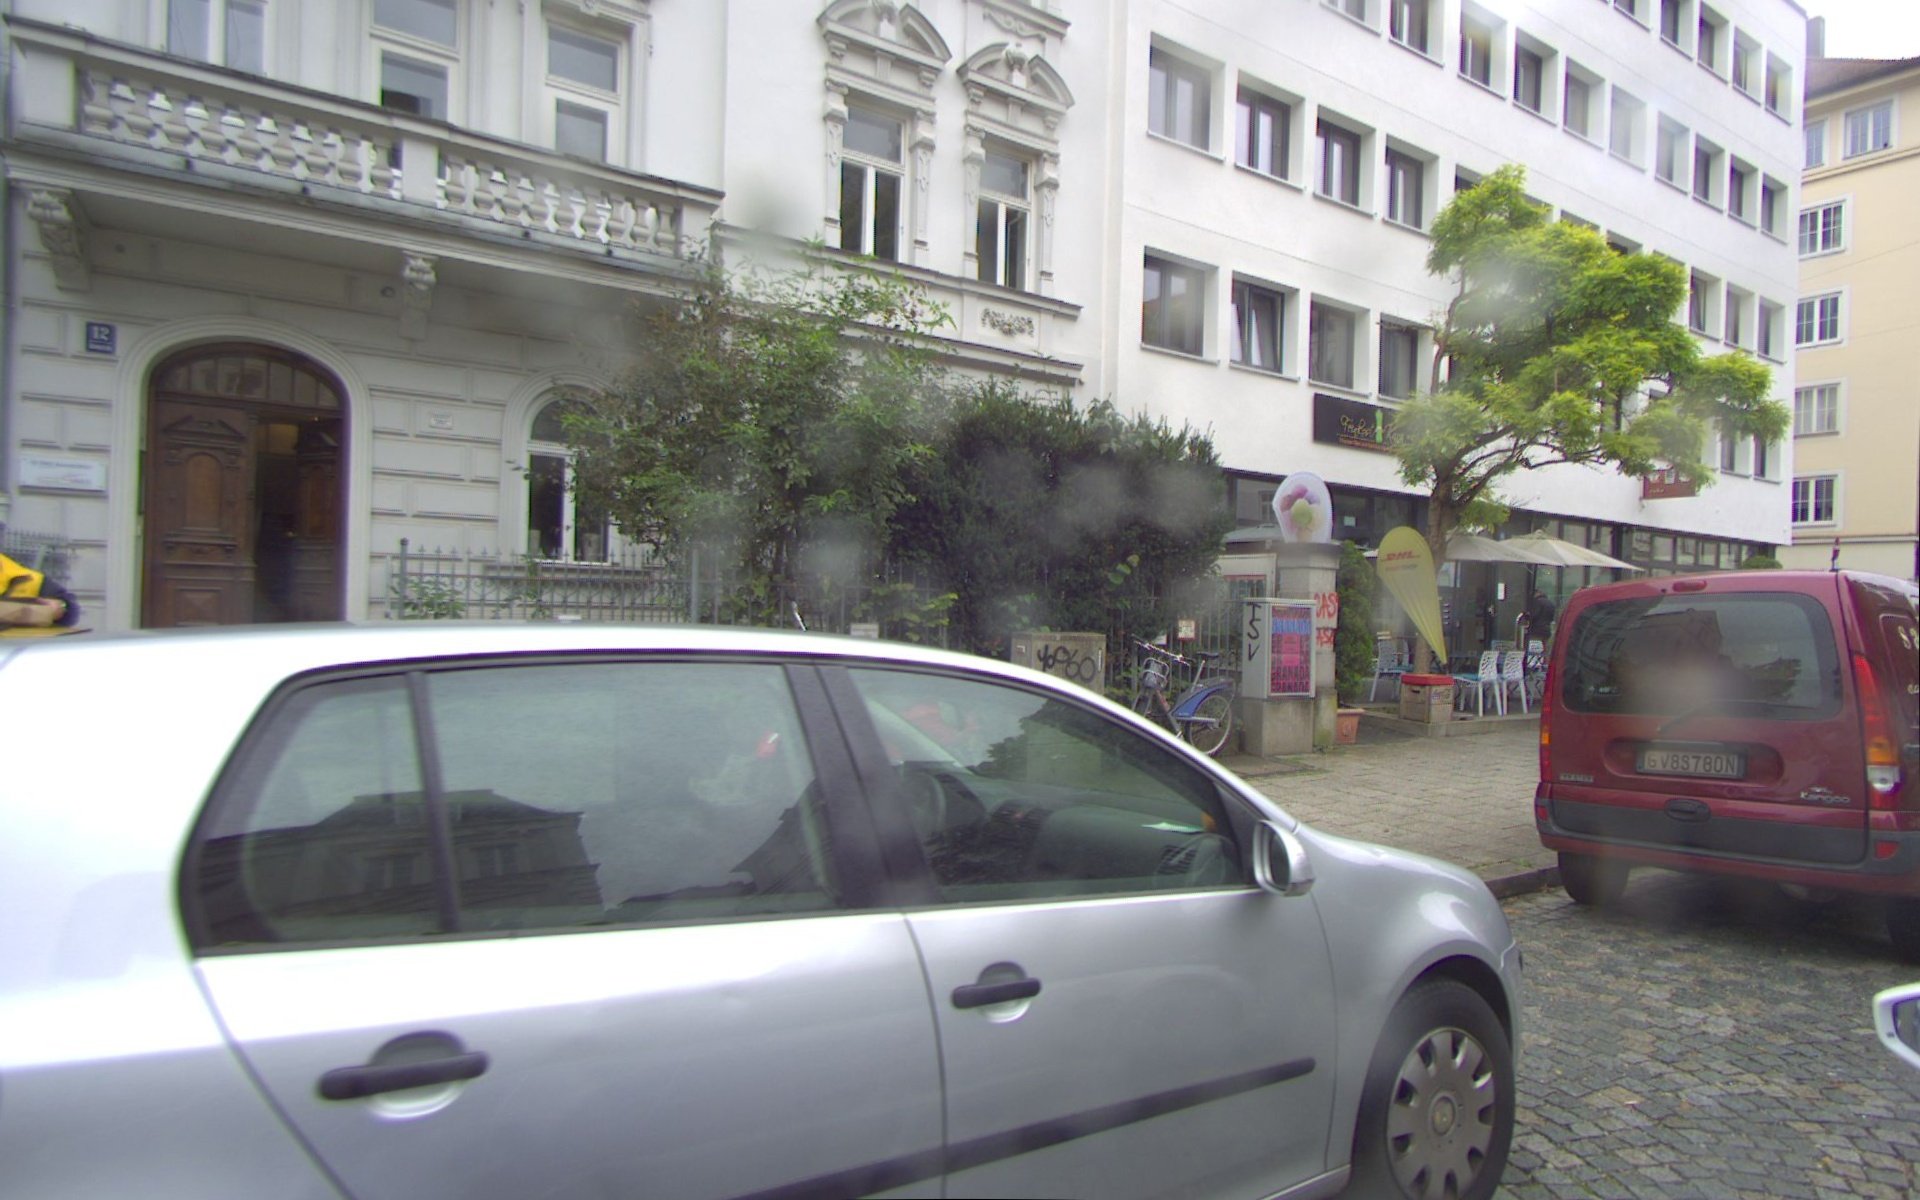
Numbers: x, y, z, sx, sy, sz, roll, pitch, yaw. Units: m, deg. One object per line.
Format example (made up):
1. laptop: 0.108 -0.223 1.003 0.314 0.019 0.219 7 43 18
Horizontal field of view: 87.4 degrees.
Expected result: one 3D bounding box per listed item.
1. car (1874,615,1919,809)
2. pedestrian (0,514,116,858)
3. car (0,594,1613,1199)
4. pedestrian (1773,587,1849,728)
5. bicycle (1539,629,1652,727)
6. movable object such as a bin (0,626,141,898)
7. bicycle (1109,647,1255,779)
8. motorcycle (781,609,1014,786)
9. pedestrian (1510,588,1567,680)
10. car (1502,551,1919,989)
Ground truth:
1. car: 9.485 0.958 8.333 3.731 1.524 1.686 2 0 -29
2. pedestrian: -4.898 0.414 5.076 0.810 1.669 0.574 1 0 -25
3. car: -0.157 0.764 2.530 3.776 1.412 1.621 2 0 -33
4. pedestrian: 11.654 0.767 13.759 0.807 1.865 0.609 2 0 -38
5. bicycle: 8.232 0.996 12.984 1.888 1.190 0.359 2 0 -30
6. movable object such as a bin: -5.287 0.698 4.324 2.617 1.181 0.640 2 0 -26
7. bicycle: 2.069 1.000 9.248 1.669 1.093 0.255 0 1 -36
8. motorcycle: -0.441 0.694 7.214 1.598 1.195 0.330 2 0 -16
9. pedestrian: 10.875 0.626 18.885 0.774 1.683 0.553 0 3 -29
10. car: 5.037 0.742 5.769 3.855 1.746 1.708 2 -1 -32
